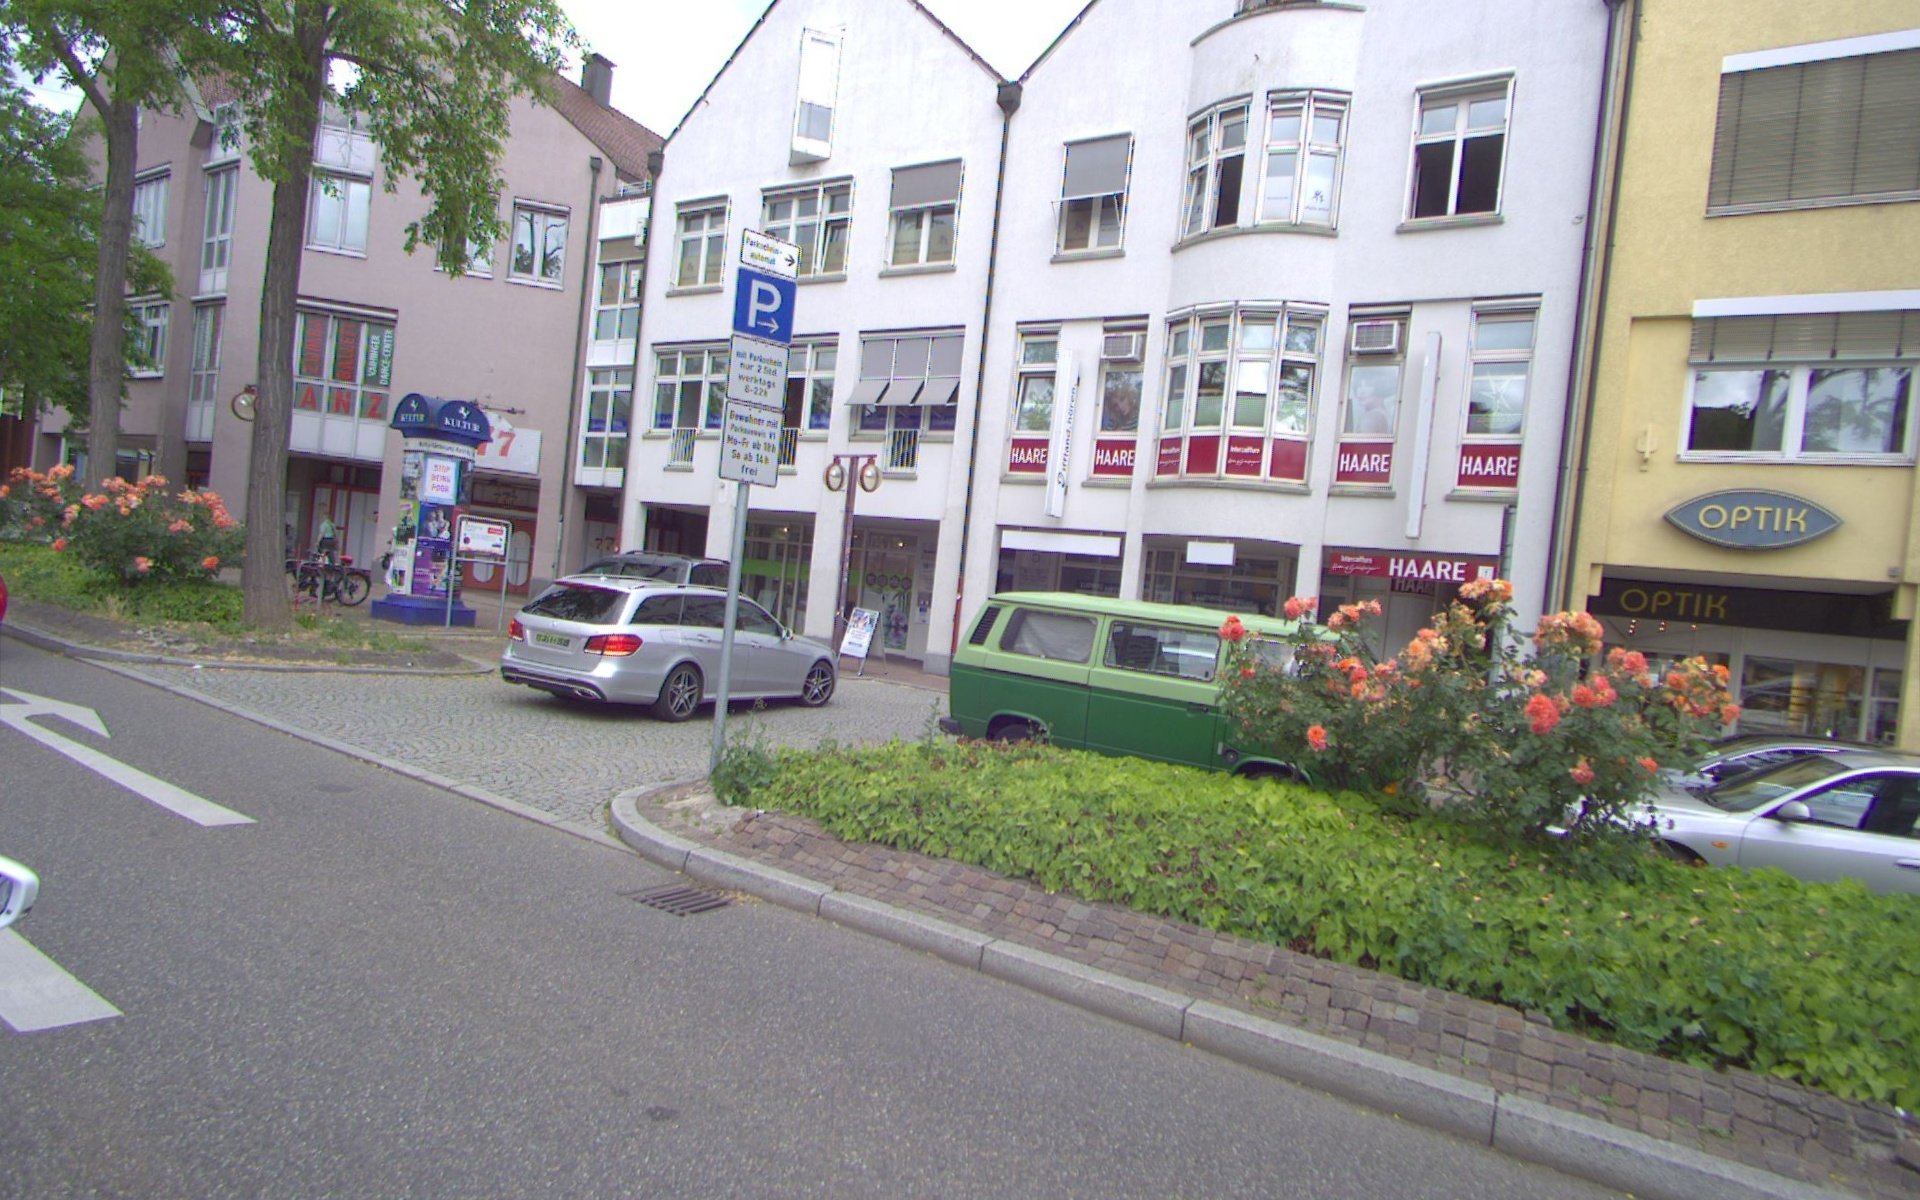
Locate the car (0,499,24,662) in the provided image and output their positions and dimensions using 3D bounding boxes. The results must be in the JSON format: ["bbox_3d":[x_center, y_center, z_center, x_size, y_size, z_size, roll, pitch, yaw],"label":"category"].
[{"bbox_3d":[-10.393,-0.412,9.317,3.293,1.459,1.590,7,-2,32],"label":"car"}]

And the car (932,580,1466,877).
[{"bbox_3d":[2.224,1.018,9.743,4.527,1.900,1.882,7,1,30],"label":"car"}]

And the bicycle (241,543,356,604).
[{"bbox_3d":[-13.004,-0.504,19.824,0.440,1.009,1.769,7,0,35],"label":"bicycle"}]

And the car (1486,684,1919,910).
[{"bbox_3d":[7.712,1.856,9.877,4.344,1.394,1.999,7,1,30],"label":"car"}]

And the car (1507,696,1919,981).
[{"bbox_3d":[6.558,1.773,7.355,4.344,1.468,1.765,7,0,30],"label":"car"}]

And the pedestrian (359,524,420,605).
[{"bbox_3d":[-12.518,-0.770,22.073,0.805,1.681,0.789,7,3,31],"label":"pedestrian"}]

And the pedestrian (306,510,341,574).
[{"bbox_3d":[-17.818,-1.626,28.162,0.631,1.697,0.584,7,1,-30],"label":"pedestrian"}]

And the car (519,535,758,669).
[{"bbox_3d":[-5.741,0.020,17.902,3.897,1.855,1.640,7,1,27],"label":"car"}]

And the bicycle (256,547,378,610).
[{"bbox_3d":[-12.496,-0.406,19.623,0.460,1.009,1.902,7,0,35],"label":"bicycle"}]

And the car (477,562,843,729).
[{"bbox_3d":[-3.370,0.523,12.295,1.788,1.467,4.365,8,1,23],"label":"car"}]

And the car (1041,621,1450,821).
[{"bbox_3d":[3.383,1.304,12.141,4.319,1.562,1.798,7,1,30],"label":"car"}]
